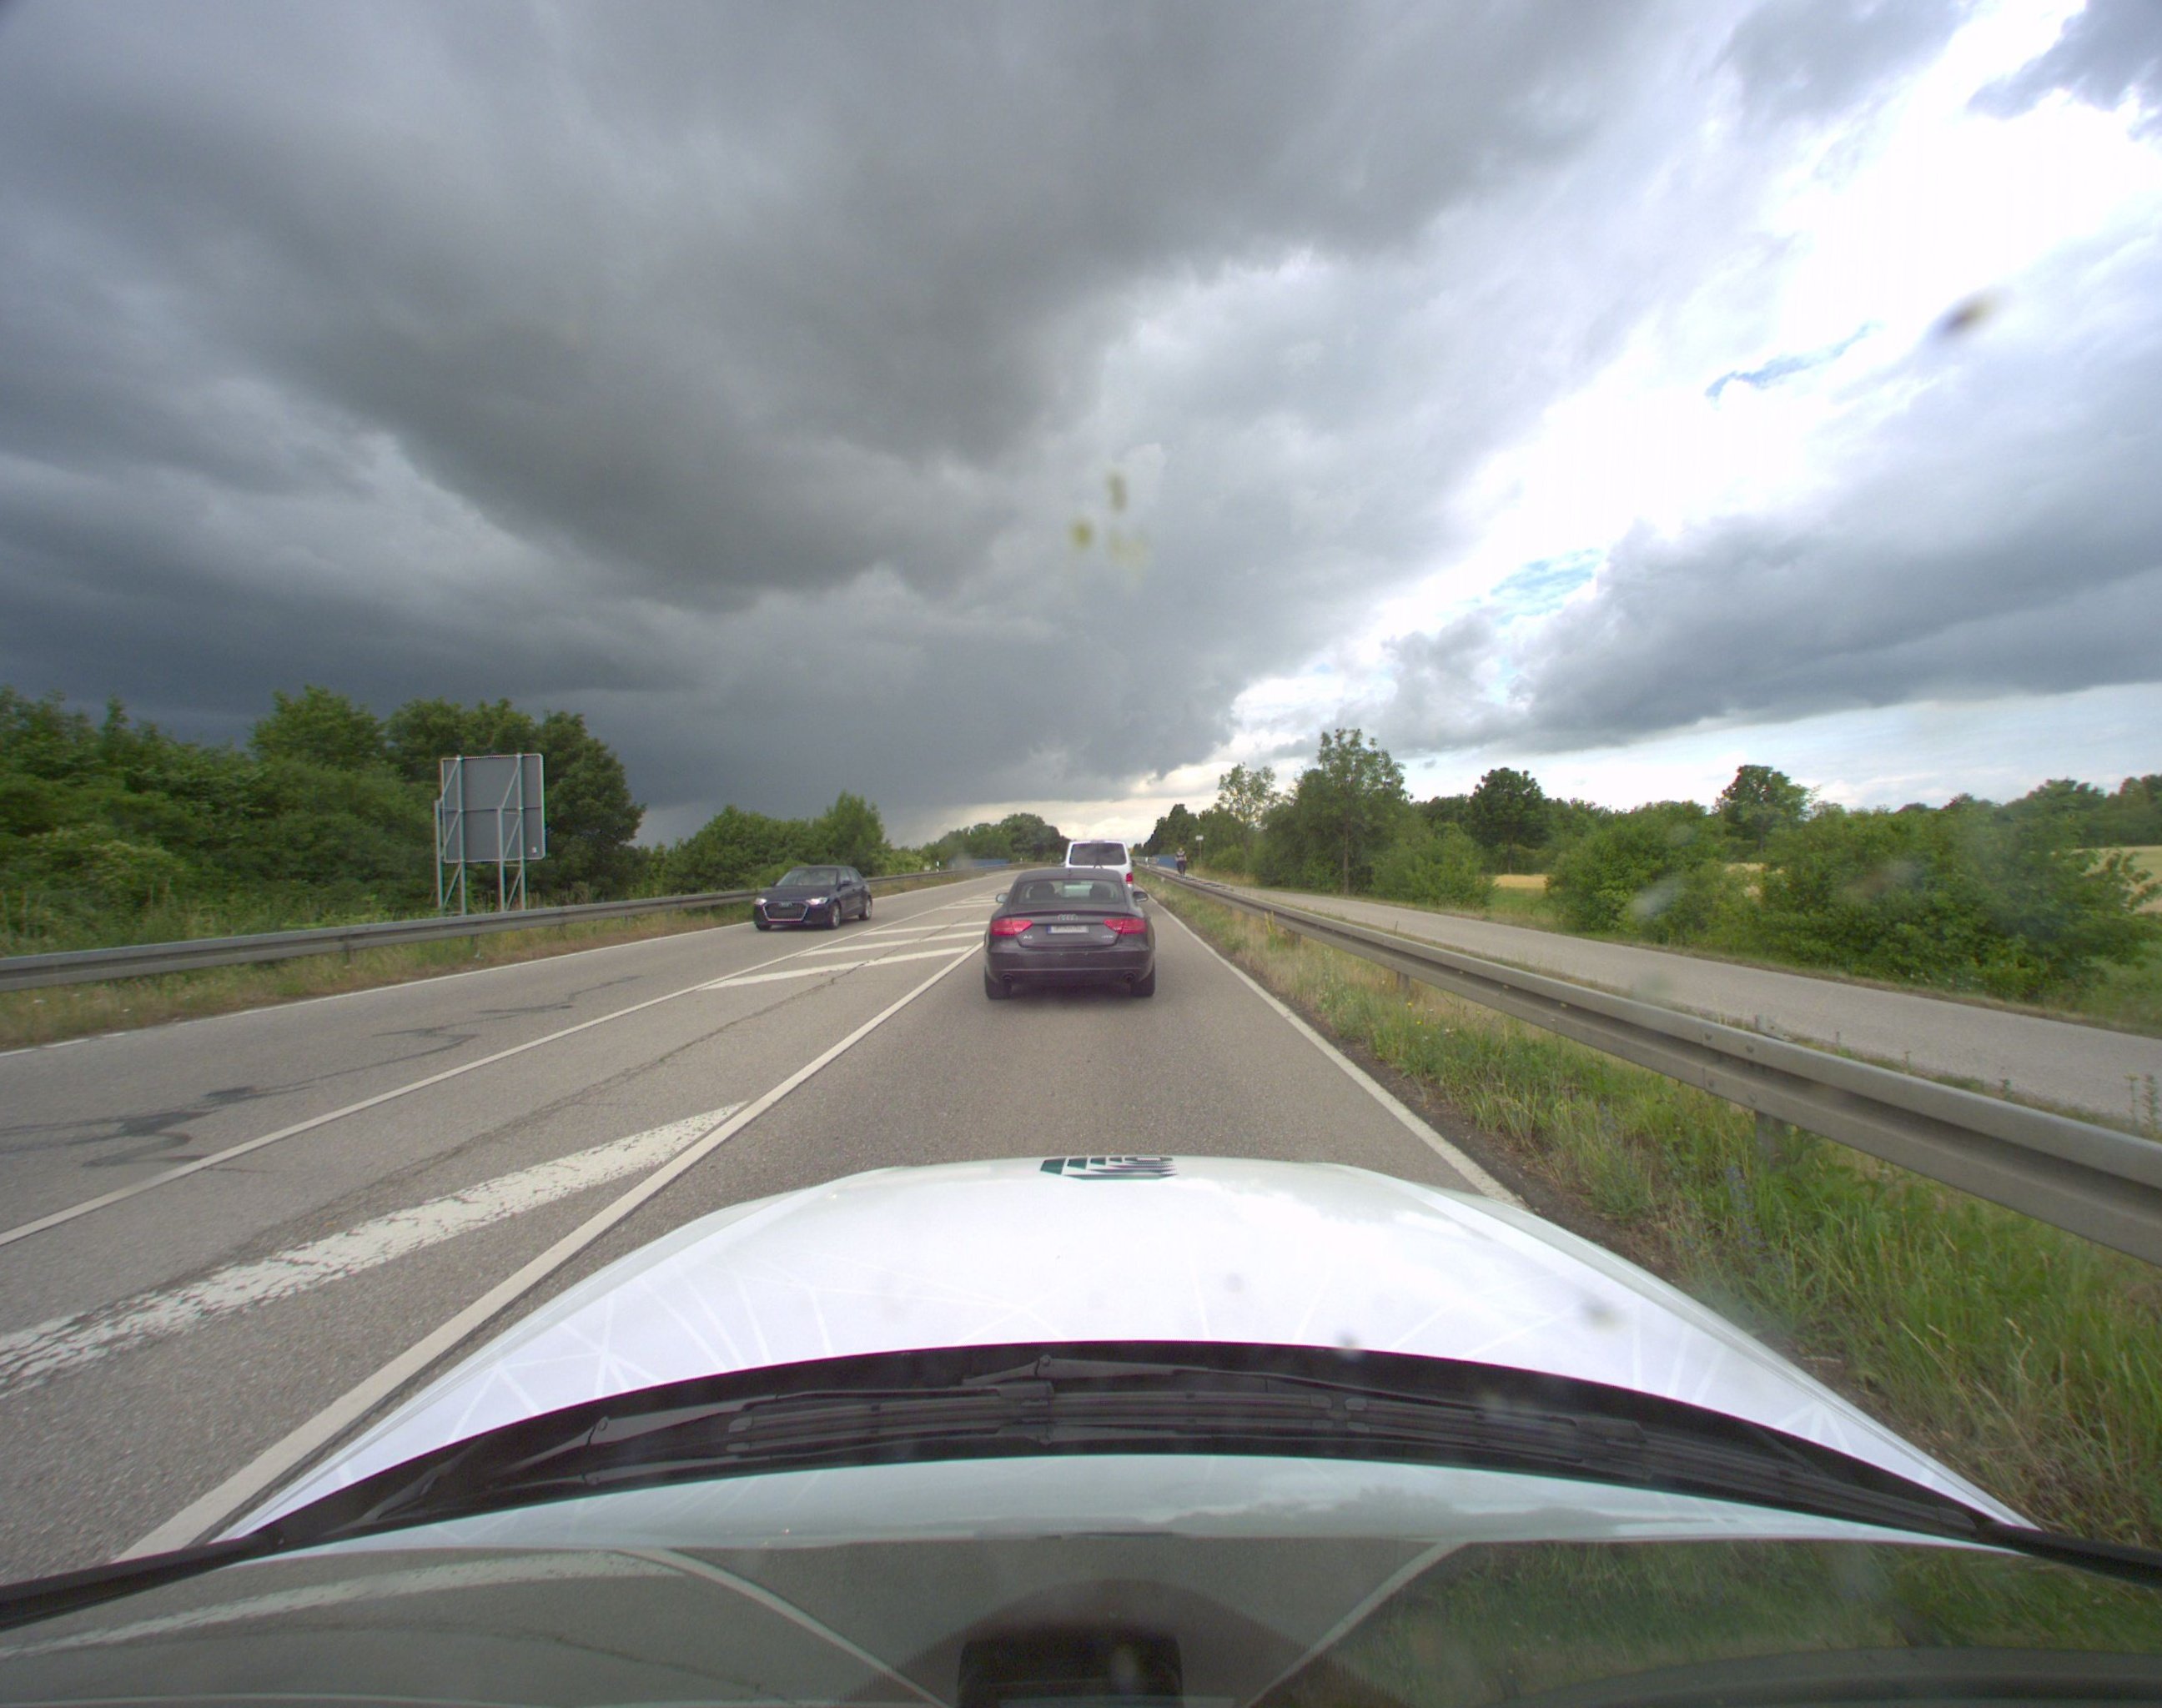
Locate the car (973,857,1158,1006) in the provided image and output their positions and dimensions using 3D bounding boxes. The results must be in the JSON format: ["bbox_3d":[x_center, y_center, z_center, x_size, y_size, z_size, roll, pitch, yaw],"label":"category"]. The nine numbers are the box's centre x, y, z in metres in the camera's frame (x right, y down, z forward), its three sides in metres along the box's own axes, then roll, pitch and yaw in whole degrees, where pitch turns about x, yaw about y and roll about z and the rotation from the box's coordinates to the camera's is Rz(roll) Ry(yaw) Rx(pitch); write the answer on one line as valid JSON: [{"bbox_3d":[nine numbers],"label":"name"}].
[{"bbox_3d":[-0.097,0.776,9.874,1.779,1.424,4.001,0,-1,1],"label":"car"}]

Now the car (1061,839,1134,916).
[{"bbox_3d":[0.459,0.603,22.178,1.779,1.890,4.001,0,-1,1],"label":"car"}]

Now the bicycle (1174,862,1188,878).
[{"bbox_3d":[6.077,0.987,49.505,0.663,0.920,1.831,-2,-1,1],"label":"bicycle"}]

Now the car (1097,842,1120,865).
[{"bbox_3d":[2.991,-0.053,88.758,2.438,2.504,5.043,0,0,2],"label":"car"}]

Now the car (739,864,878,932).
[{"bbox_3d":[-6.248,0.941,19.149,1.856,1.376,4.000,-1,0,1],"label":"car"}]

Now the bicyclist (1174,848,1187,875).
[{"bbox_3d":[6.054,0.447,49.465,0.644,1.645,0.866,-2,-1,1],"label":"bicyclist"}]
